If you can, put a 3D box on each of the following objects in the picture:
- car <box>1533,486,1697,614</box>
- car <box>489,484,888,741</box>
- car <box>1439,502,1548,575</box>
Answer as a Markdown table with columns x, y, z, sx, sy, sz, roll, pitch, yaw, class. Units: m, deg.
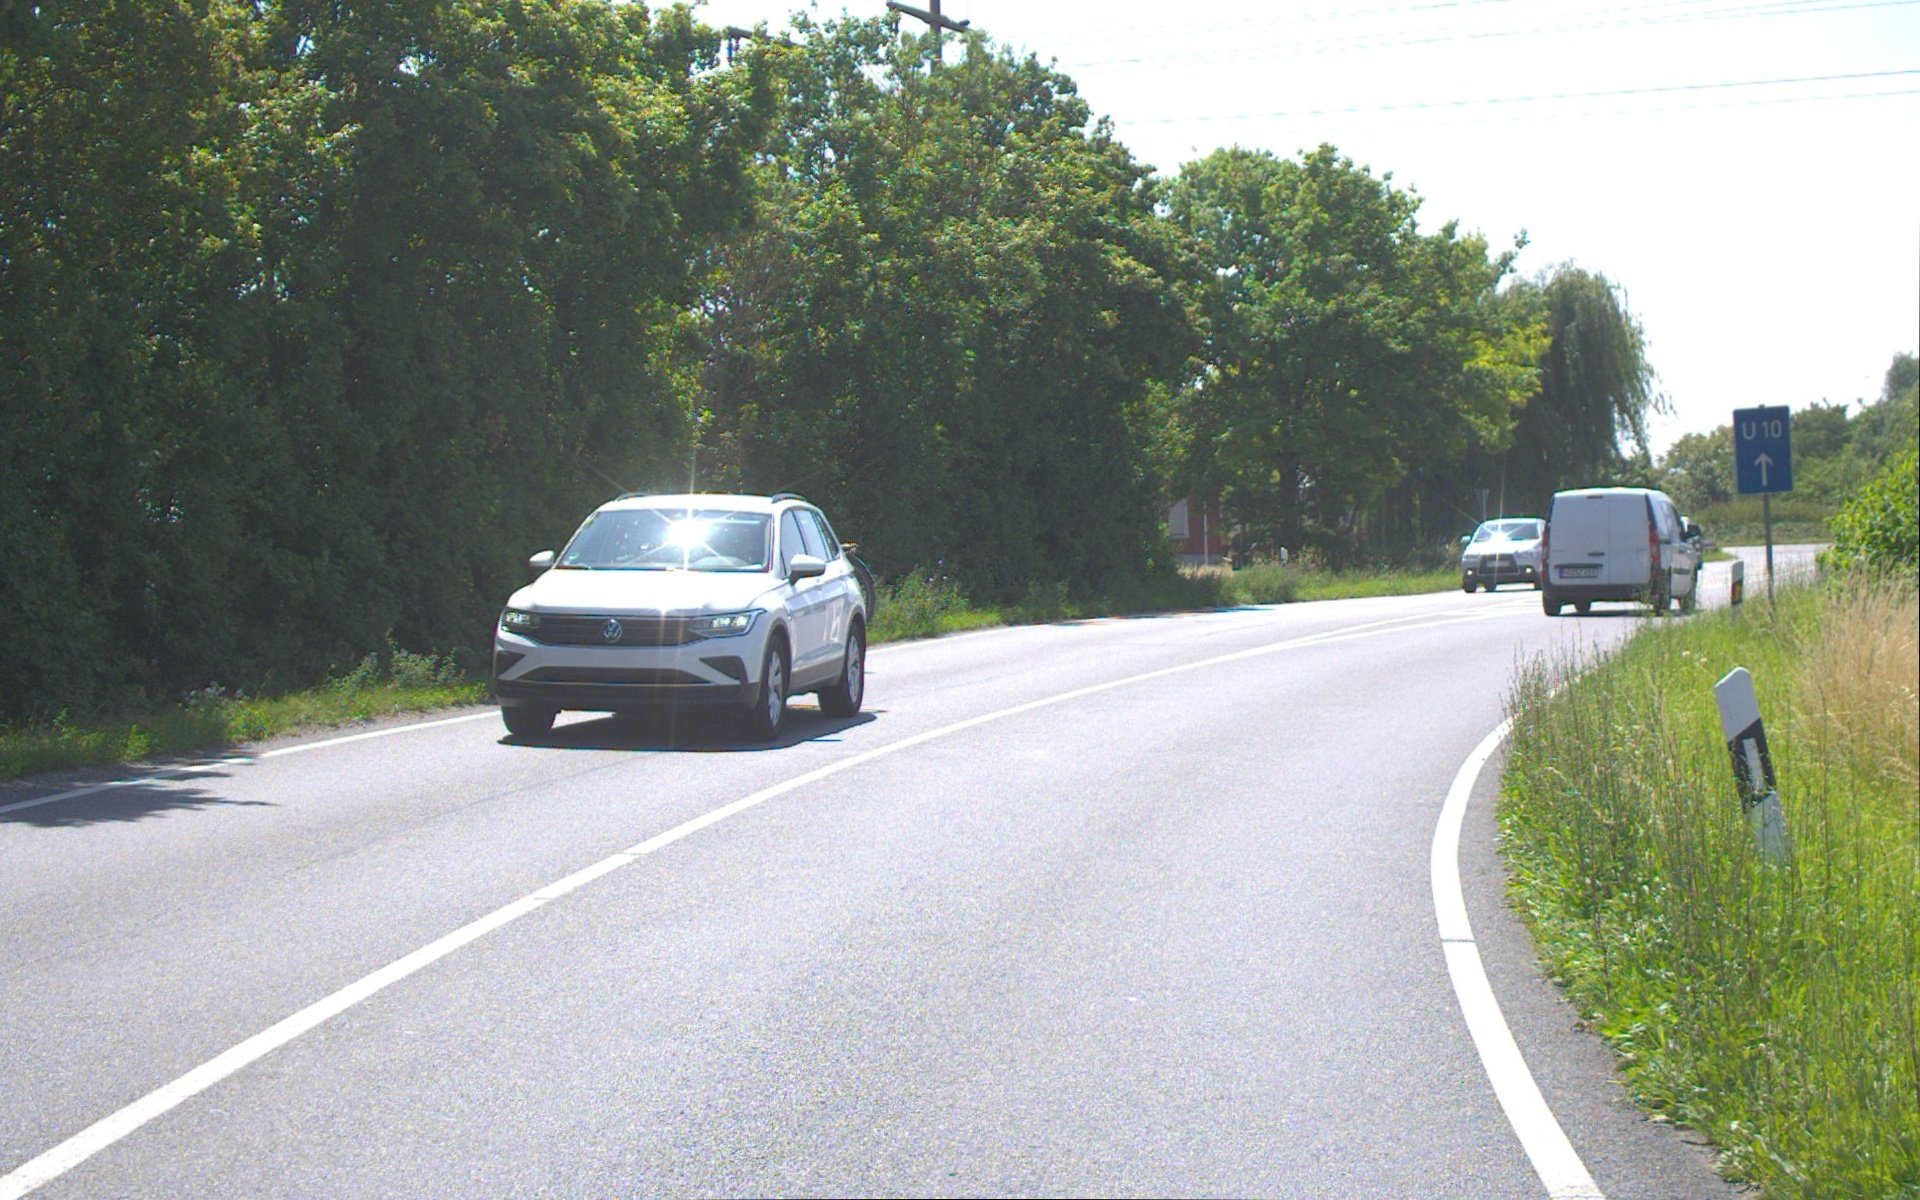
| x | y | z | sx | sy | sz | roll | pitch | yaw | class |
| --- | --- | --- | --- | --- | --- | --- | --- | --- | --- |
| 9.423 | -0.718 | 49.272 | 1.905 | 1.726 | 3.819 | -1 | 1 | 17 | car |
| -1.788 | 0.019 | 24.269 | 1.855 | 1.596 | 4.776 | 1 | 2 | 7 | car |
| 11.880 | -1.385 | 76.408 | 1.742 | 1.584 | 3.997 | 1 | 2 | 18 | car |
